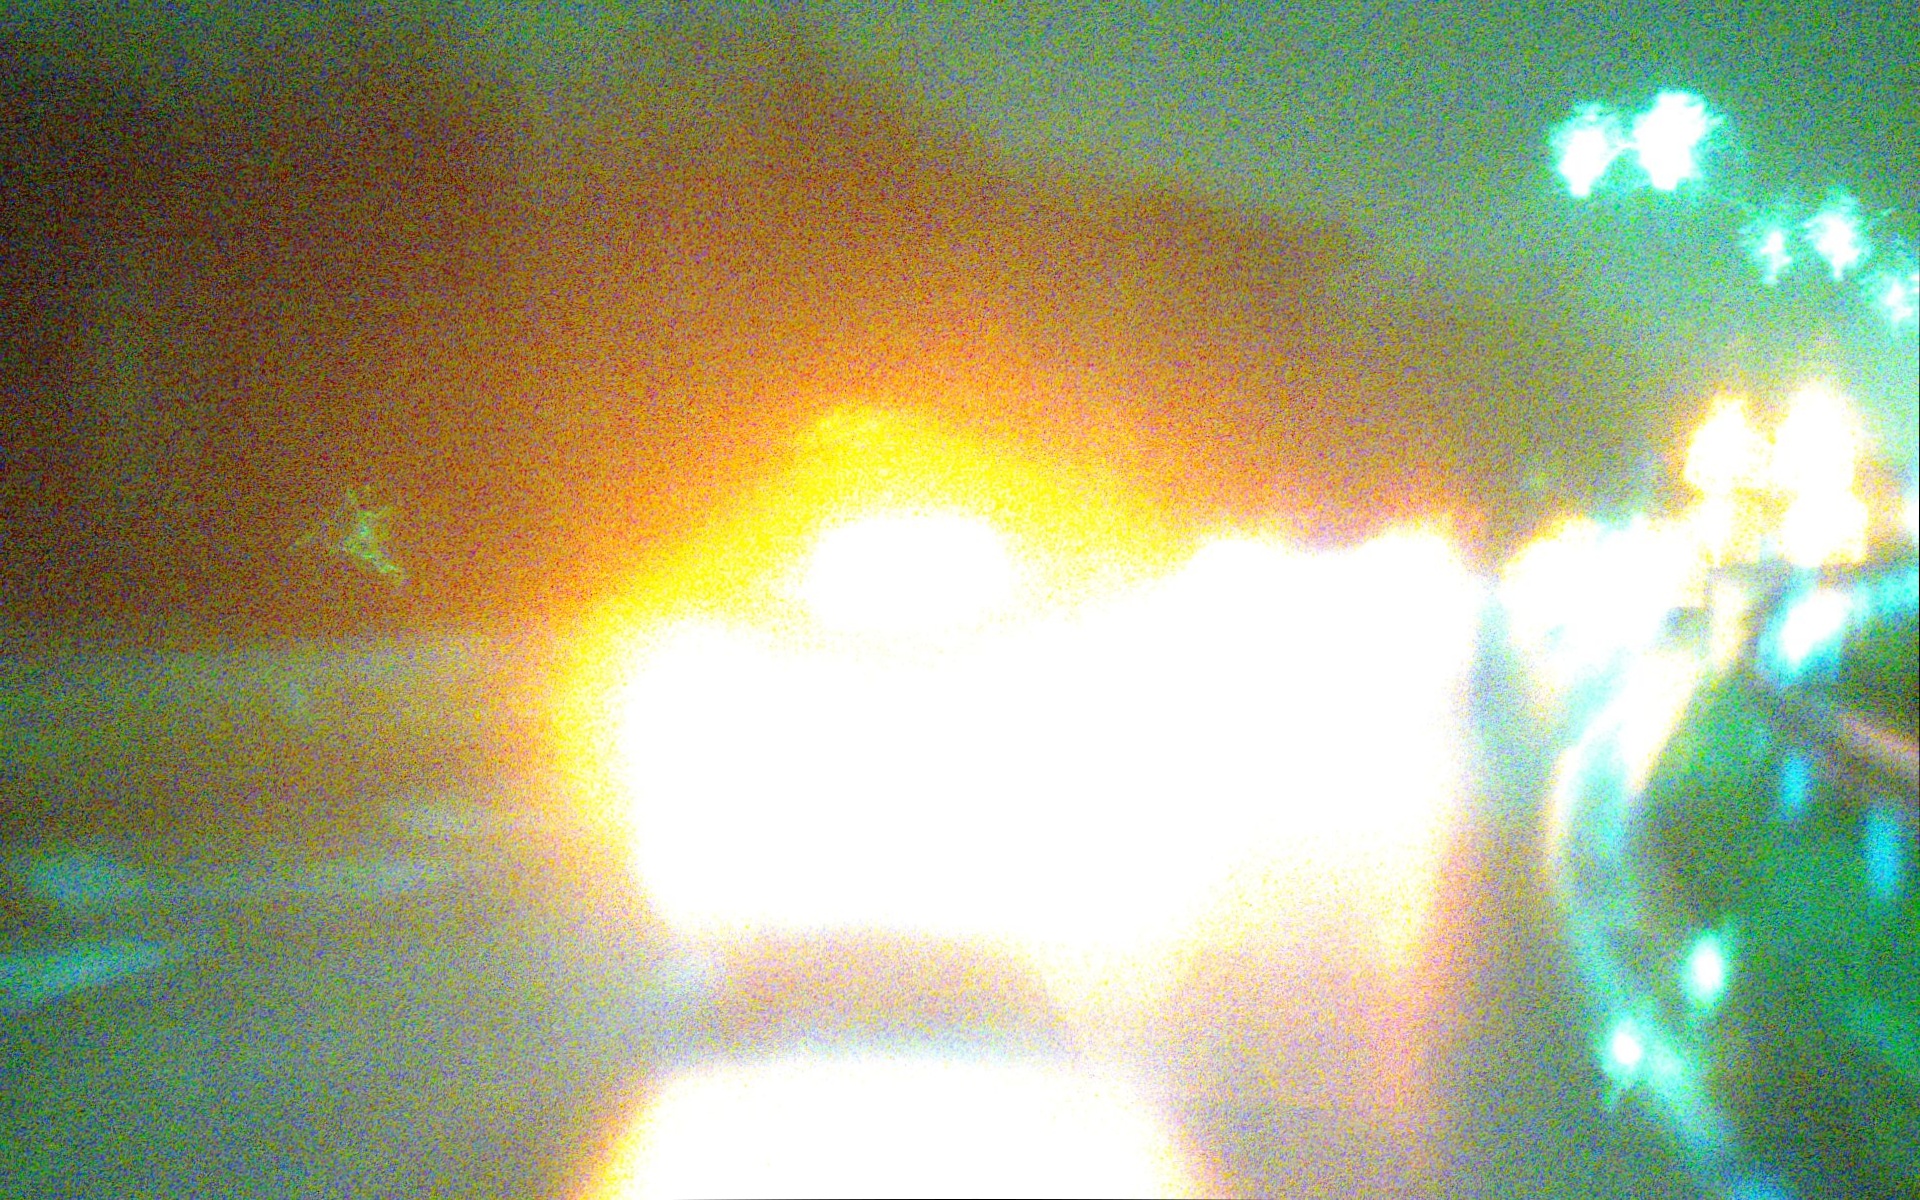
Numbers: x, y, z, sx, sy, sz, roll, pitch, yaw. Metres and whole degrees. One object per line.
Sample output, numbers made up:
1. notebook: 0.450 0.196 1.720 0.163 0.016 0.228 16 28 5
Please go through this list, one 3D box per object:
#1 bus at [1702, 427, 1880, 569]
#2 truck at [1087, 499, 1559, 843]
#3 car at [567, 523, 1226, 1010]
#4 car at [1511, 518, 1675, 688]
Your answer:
1. bus: 19.502 -2.383 80.285 2.747 3.112 9.191 0 2 22
2. truck: 3.276 0.491 28.986 3.071 2.520 7.162 0 0 13
3. car: -0.062 0.494 12.507 1.944 1.486 3.715 -1 1 6
4. car: 7.648 0.016 41.379 1.837 1.942 3.998 0 0 11
